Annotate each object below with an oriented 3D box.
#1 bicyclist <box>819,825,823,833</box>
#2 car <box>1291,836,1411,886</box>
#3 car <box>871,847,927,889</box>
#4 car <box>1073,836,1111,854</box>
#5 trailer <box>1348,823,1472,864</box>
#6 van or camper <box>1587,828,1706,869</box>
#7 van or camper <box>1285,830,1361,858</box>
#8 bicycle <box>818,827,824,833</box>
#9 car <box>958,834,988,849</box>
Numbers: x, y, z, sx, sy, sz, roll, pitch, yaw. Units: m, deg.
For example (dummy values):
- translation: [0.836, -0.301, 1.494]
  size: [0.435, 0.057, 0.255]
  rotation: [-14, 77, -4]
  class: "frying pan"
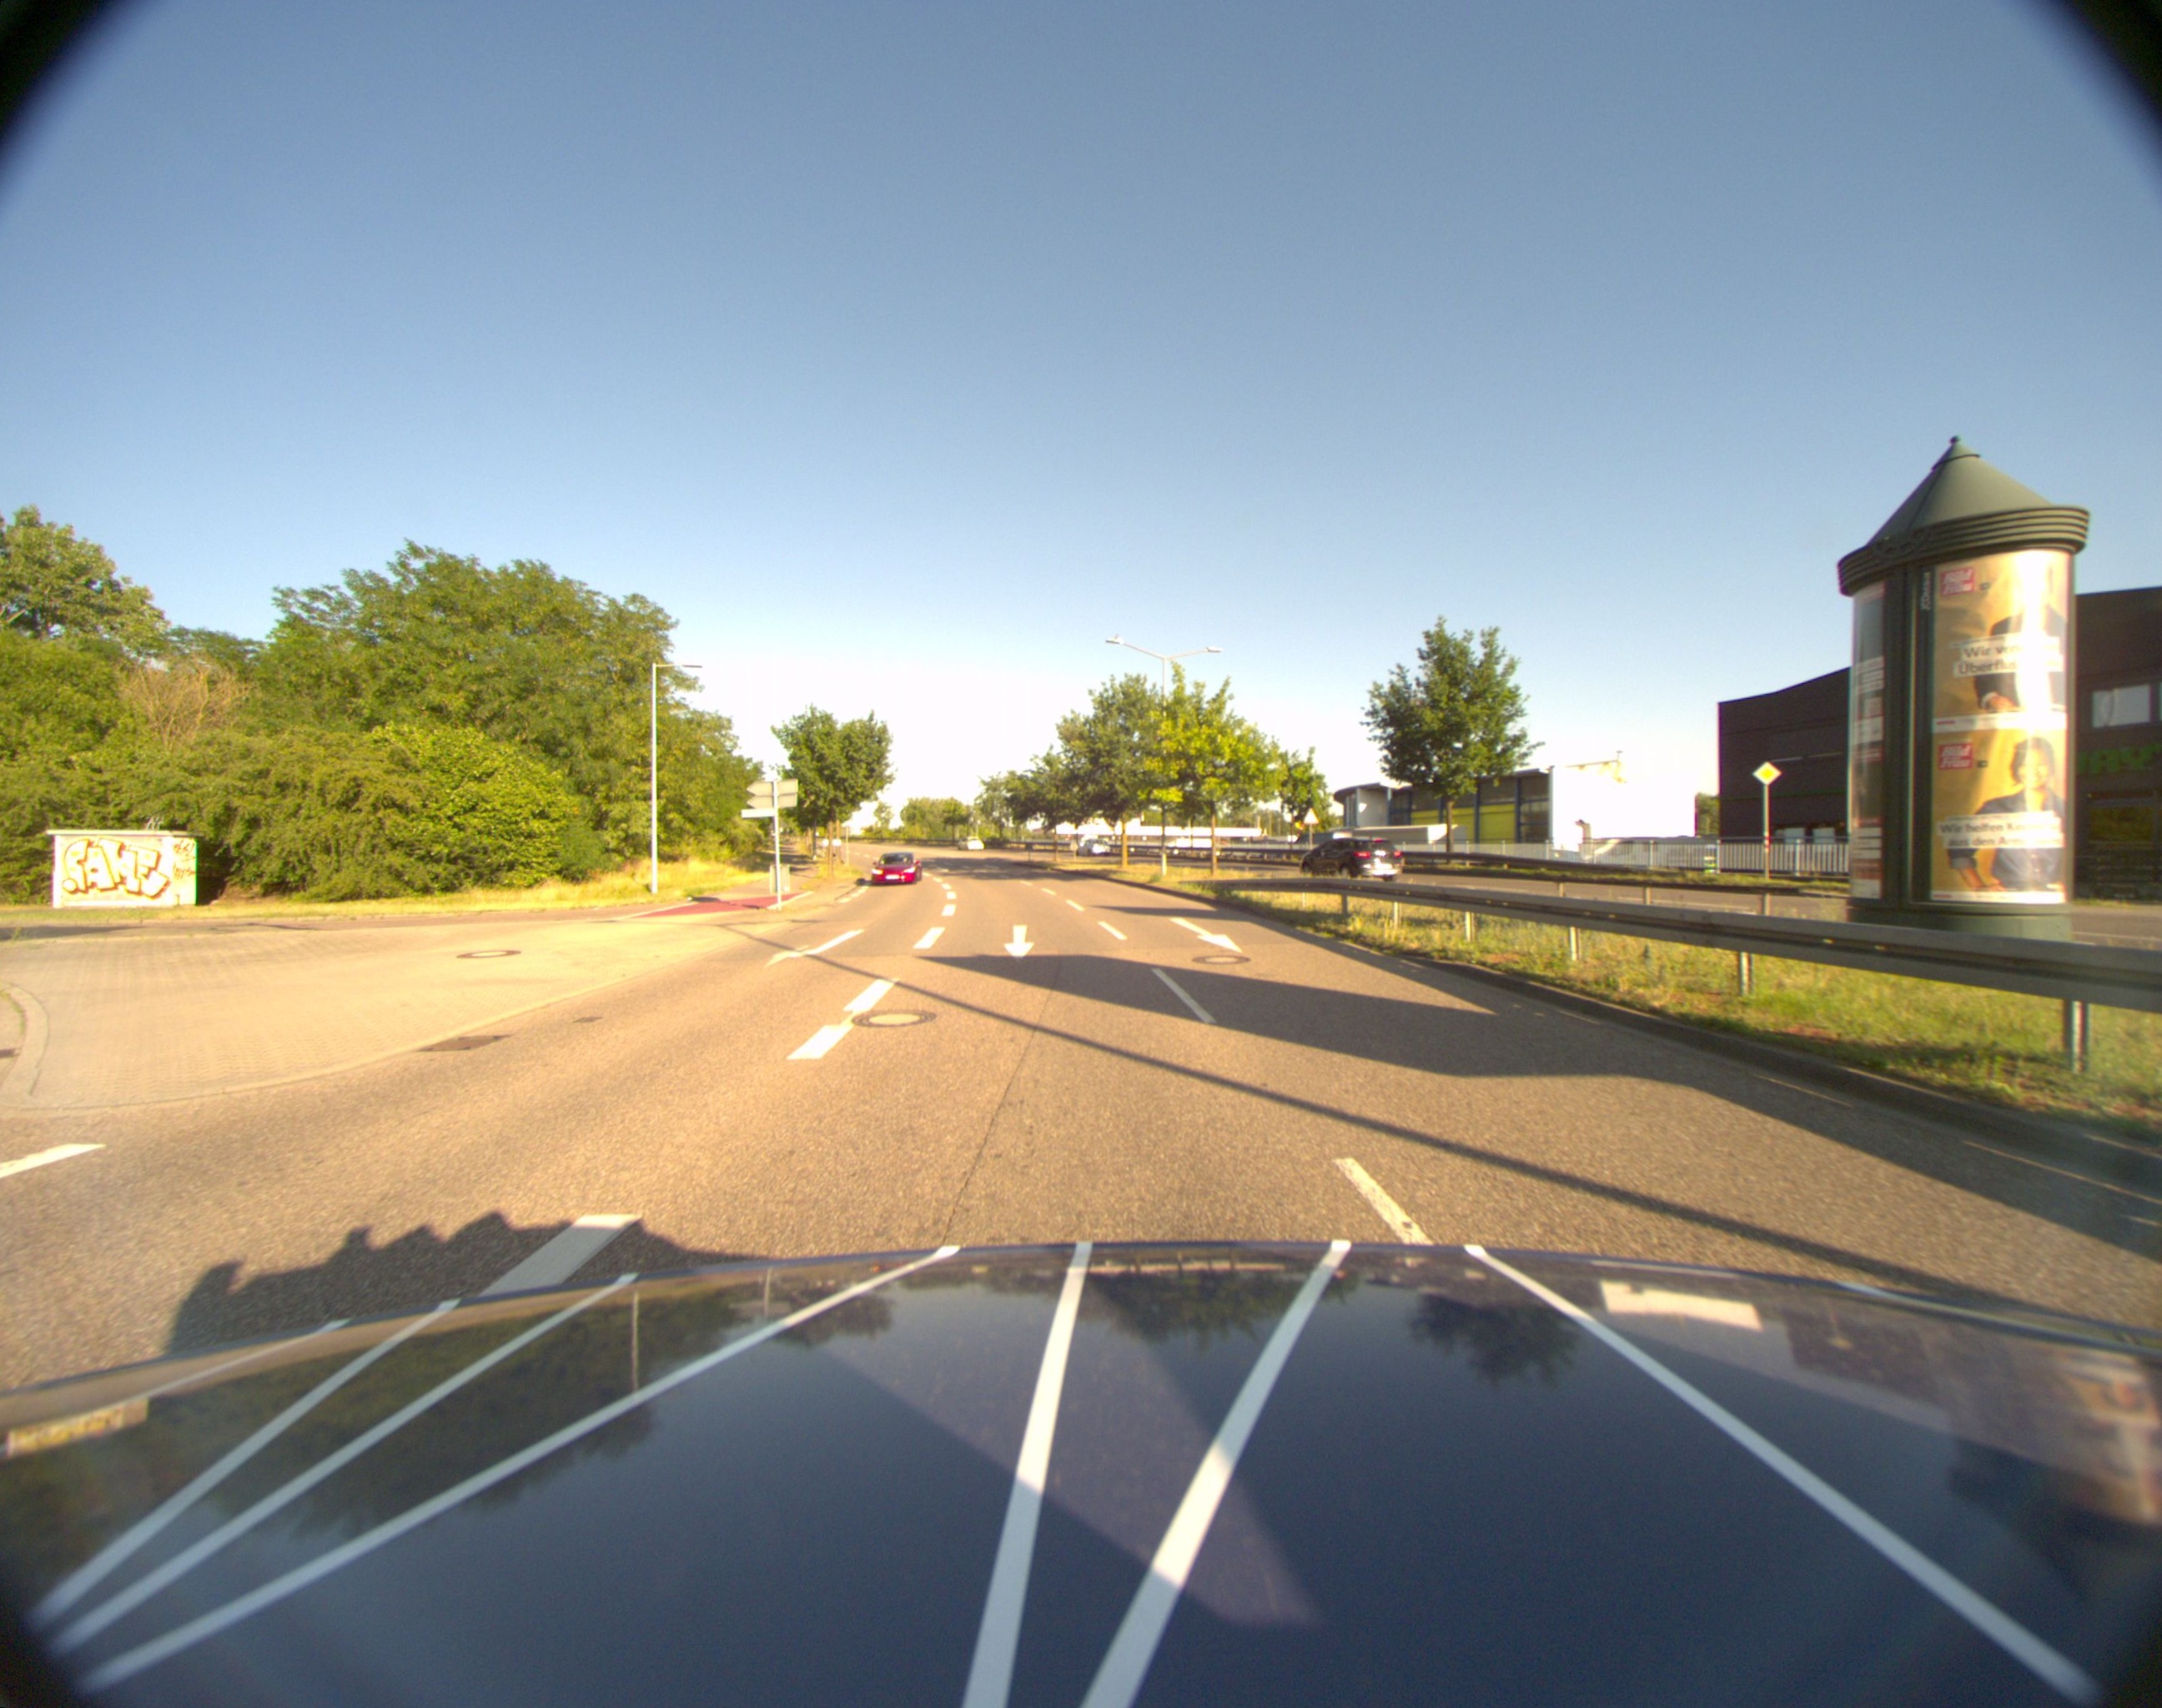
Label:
- translation: [-51.217, -4.981, 149.804]
  size: [0.602, 1.451, 0.826]
  rotation: [1, 2, -34]
  class: "bicyclist"
- translation: [9.318, 0.172, 26.625]
  size: [1.852, 1.595, 4.388]
  rotation: [-1, 2, -13]
  class: "car"
- translation: [-8.136, 0.560, 34.360]
  size: [1.782, 1.434, 4.354]
  rotation: [-4, 4, -5]
  class: "car"
- translation: [0.899, -0.765, 62.757]
  size: [1.679, 1.454, 4.096]
  rotation: [-1, 2, -22]
  class: "car"
- translation: [17.243, -0.617, 40.371]
  size: [2.429, 1.959, 6.594]
  rotation: [-1, 2, -16]
  class: "trailer"
- translation: [27.851, -0.302, 37.603]
  size: [4.220, 1.915, 2.002]
  rotation: [1, 3, 18]
  class: "van or camper"
- translation: [14.993, -0.668, 47.376]
  size: [2.001, 1.676, 4.951]
  rotation: [-1, 2, -17]
  class: "van or camper"
- translation: [-51.357, -4.796, 149.979]
  size: [0.585, 1.071, 2.306]
  rotation: [1, 2, -34]
  class: "bicycle"
- translation: [-11.588, -1.355, 81.143]
  size: [1.749, 1.454, 3.756]
  rotation: [-3, 2, -31]
  class: "car"
